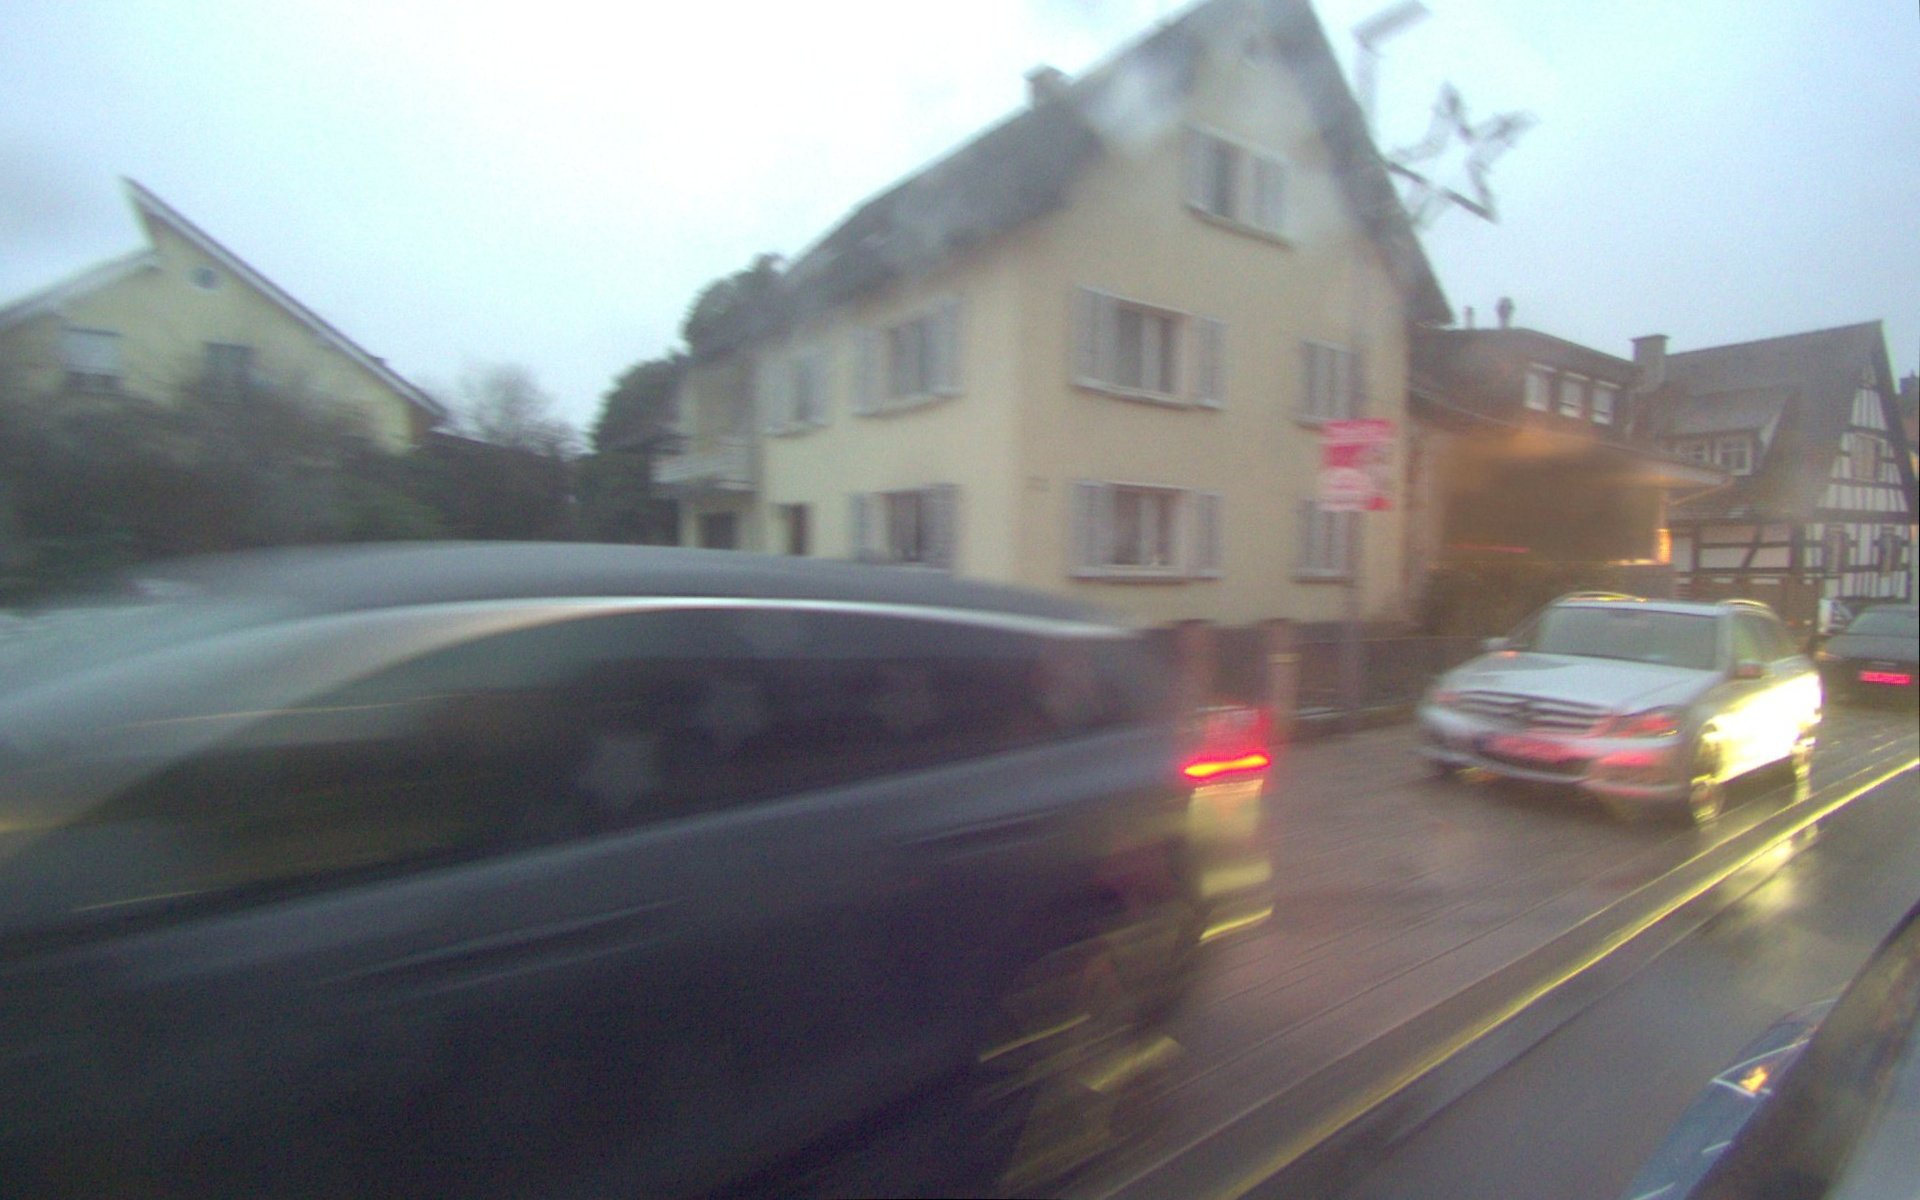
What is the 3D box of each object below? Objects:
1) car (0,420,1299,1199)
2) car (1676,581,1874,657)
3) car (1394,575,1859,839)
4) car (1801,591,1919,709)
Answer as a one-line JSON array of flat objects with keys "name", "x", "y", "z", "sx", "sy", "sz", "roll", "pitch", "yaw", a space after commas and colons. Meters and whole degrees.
[{"name": "car", "x": -1.377, "y": 0.544, "z": 2.082, "sx": 4.591, "sy": 1.566, "sz": 1.886, "roll": 0, "pitch": 2, "yaw": -42}, {"name": "car", "x": 19.394, "y": 0.385, "z": 24.177, "sx": 1.655, "sy": 1.458, "sz": 3.302, "roll": 0, "pitch": 5, "yaw": -37}, {"name": "car", "x": 5.443, "y": 0.612, "z": 8.027, "sx": 4.449, "sy": 1.478, "sz": 1.799, "roll": 0, "pitch": 3, "yaw": -39}, {"name": "car", "x": 14.003, "y": 0.661, "z": 14.630, "sx": 4.523, "sy": 1.440, "sz": 1.829, "roll": 0, "pitch": 4, "yaw": -38}]
